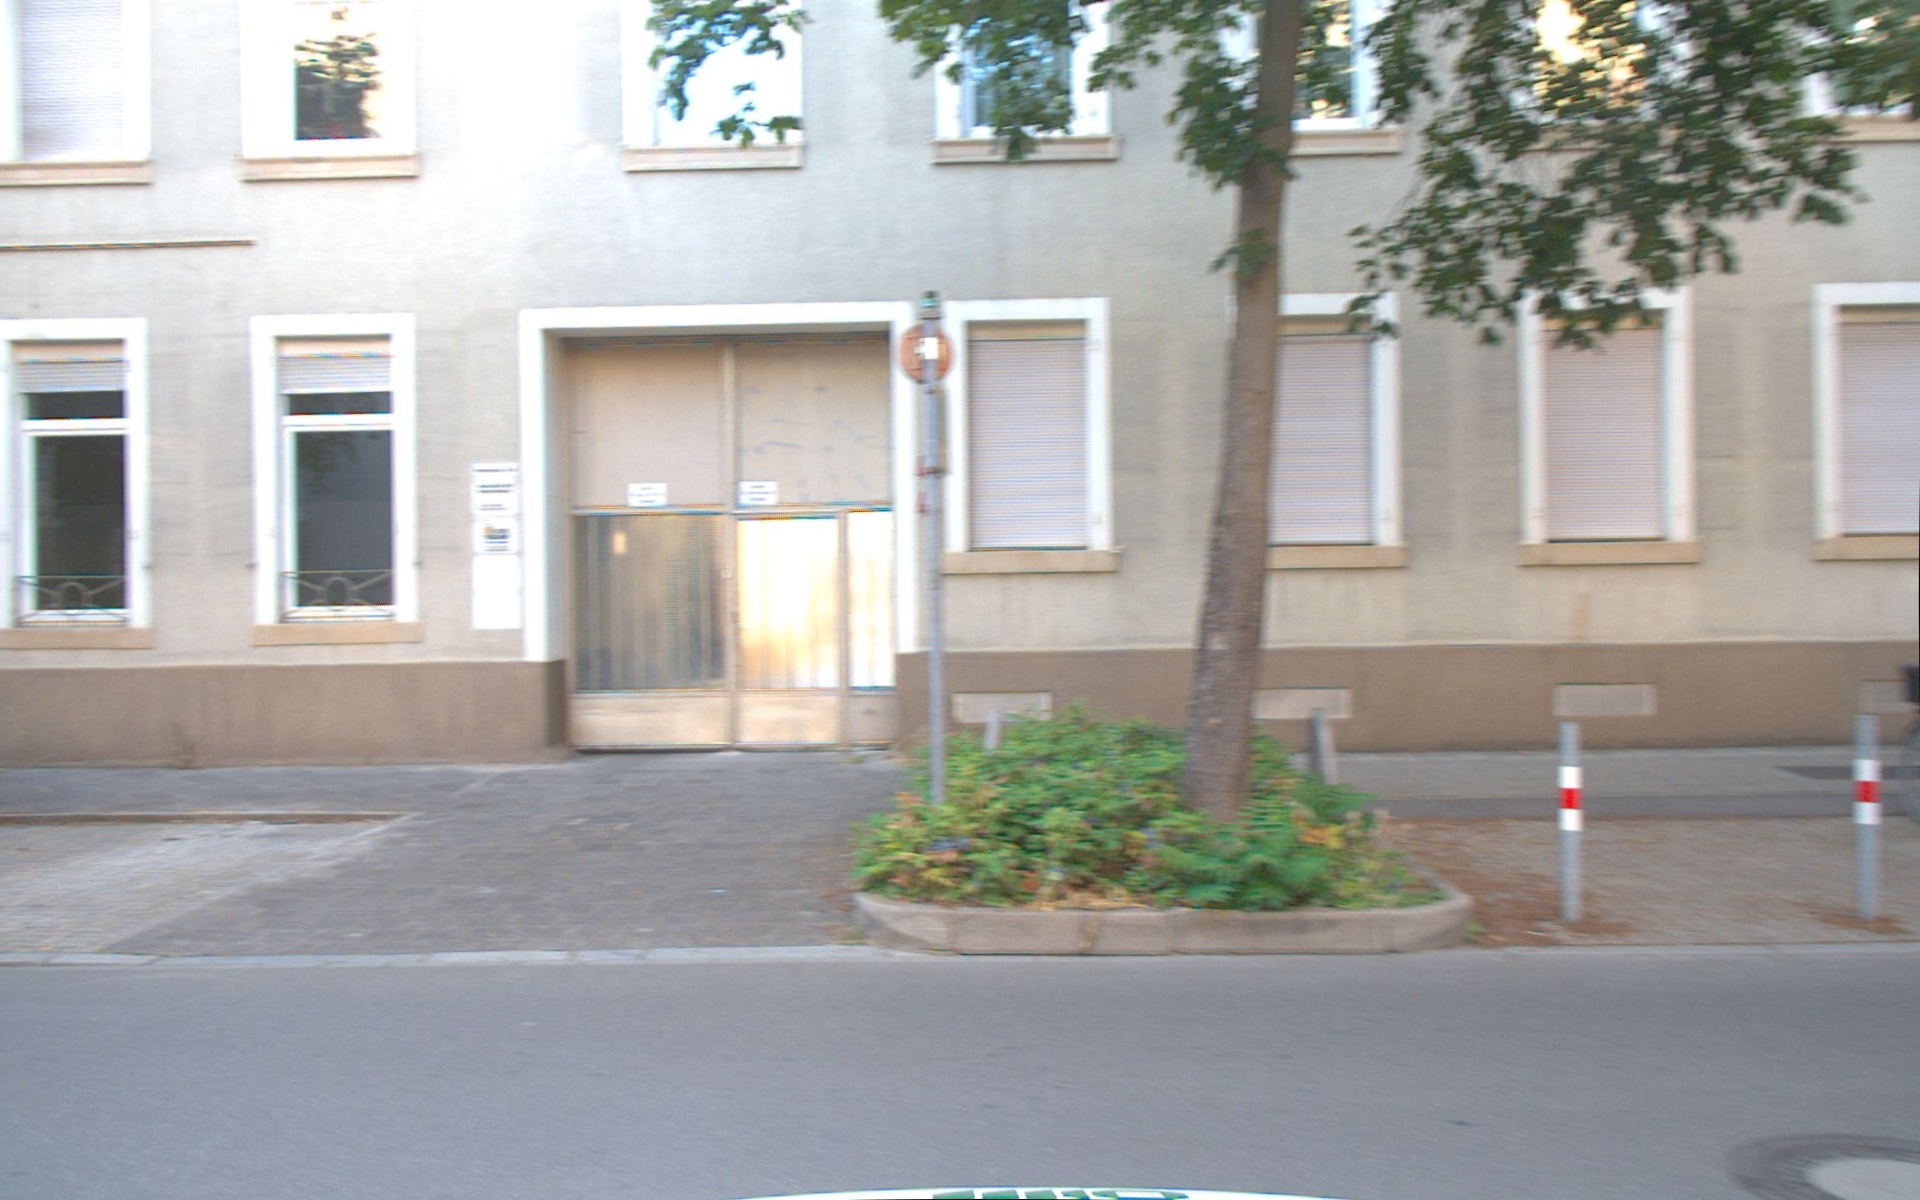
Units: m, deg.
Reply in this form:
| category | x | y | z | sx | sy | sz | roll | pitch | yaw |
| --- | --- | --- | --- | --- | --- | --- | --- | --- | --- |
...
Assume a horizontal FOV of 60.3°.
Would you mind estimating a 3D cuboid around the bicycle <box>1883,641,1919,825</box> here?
| category | x | y | z | sx | sy | sz | roll | pitch | yaw |
| --- | --- | --- | --- | --- | --- | --- | --- | --- | --- |
| bicycle | 6.318 | 0.862 | 10.053 | 0.435 | 1.165 | 2.044 | -1 | 0 | 5 |
